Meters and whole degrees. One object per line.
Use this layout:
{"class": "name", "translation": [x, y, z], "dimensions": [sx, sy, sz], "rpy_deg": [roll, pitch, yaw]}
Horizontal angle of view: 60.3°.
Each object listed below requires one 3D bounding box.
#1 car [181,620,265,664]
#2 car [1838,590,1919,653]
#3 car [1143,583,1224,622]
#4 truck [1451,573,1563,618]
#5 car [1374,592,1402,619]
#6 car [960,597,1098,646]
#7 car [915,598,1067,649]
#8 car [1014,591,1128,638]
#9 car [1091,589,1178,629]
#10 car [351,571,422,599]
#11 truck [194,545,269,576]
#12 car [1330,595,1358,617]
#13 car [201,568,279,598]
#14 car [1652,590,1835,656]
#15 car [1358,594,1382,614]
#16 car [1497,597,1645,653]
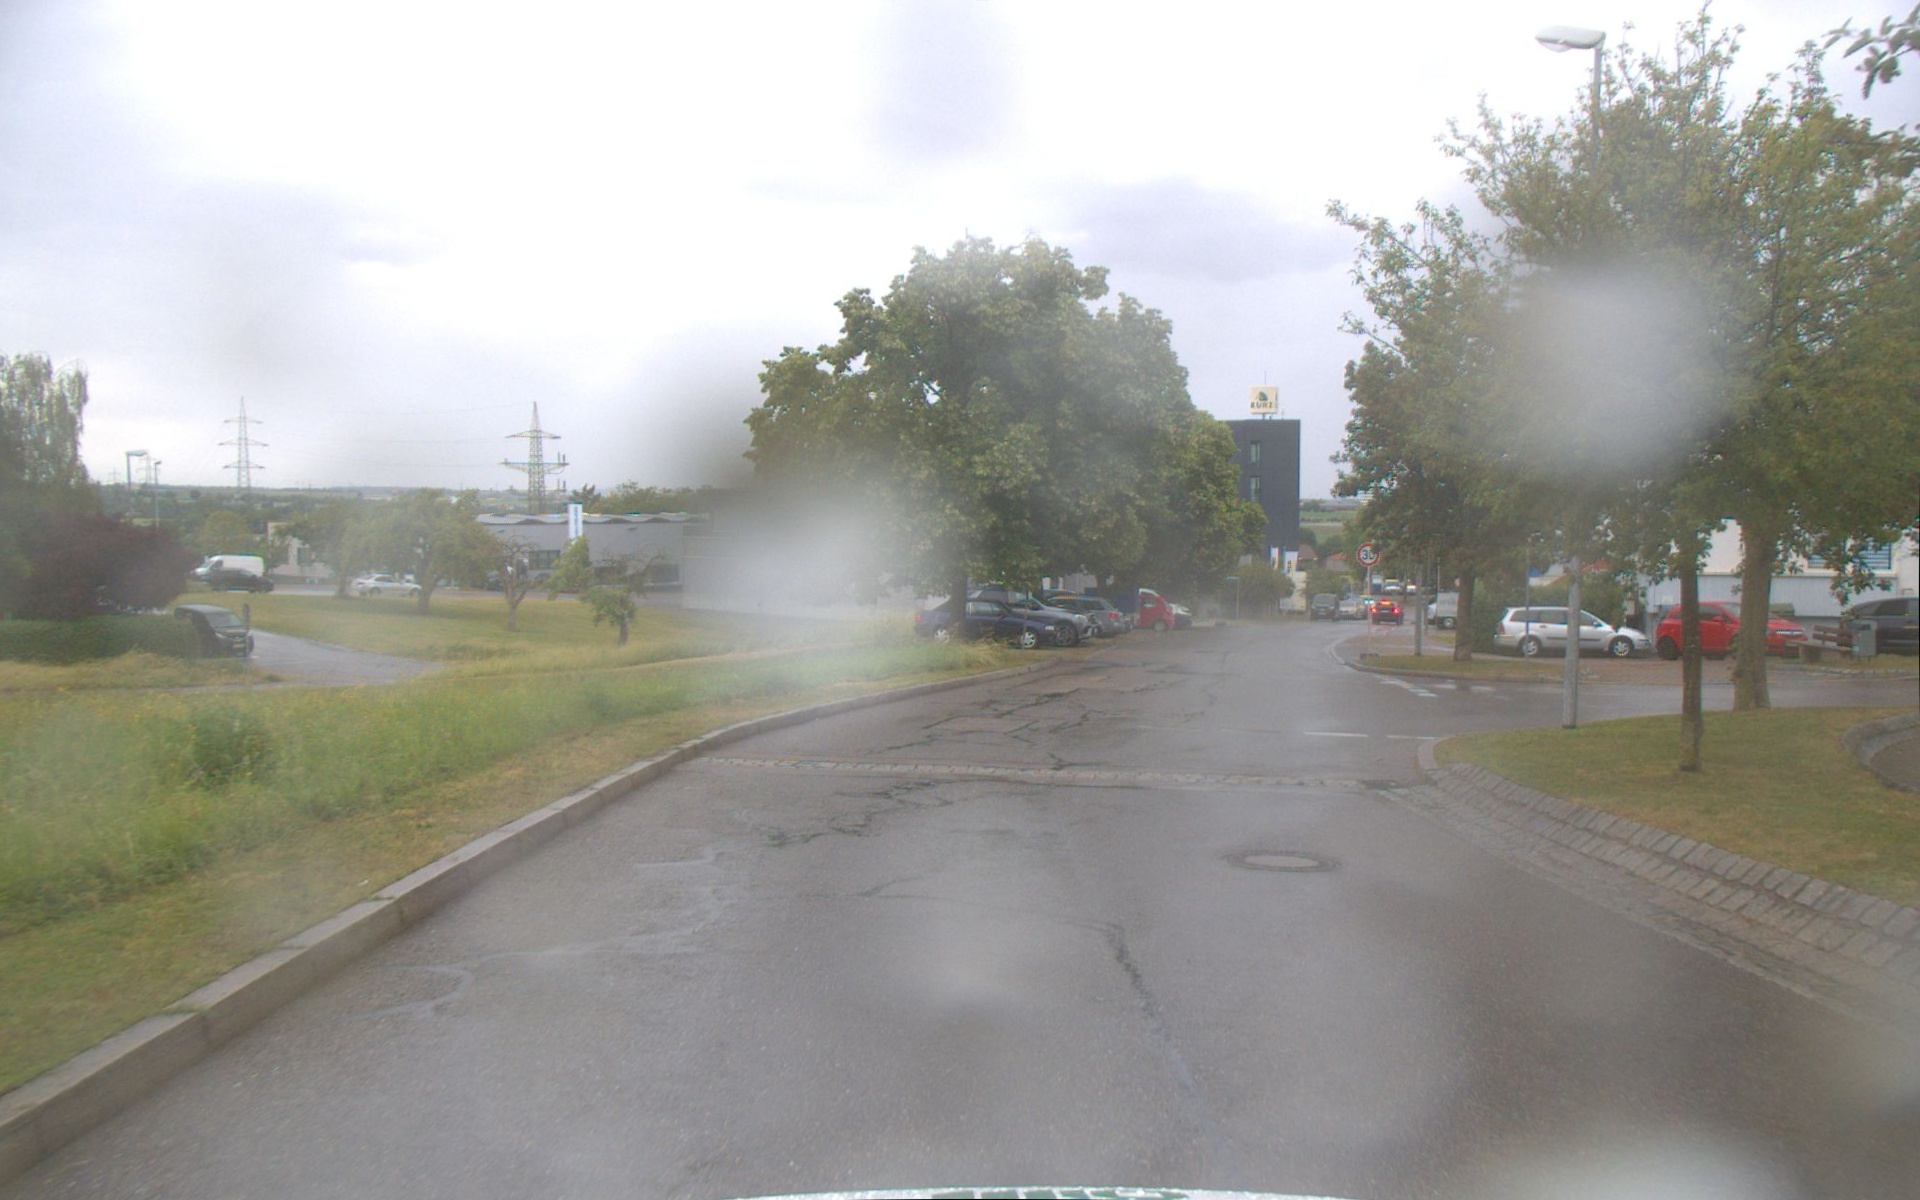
{"class": "car", "translation": [-30.838, 1.722, 69.175], "dimensions": [3.928, 1.624, 1.771], "rpy_deg": [1, 2, 42]}
{"class": "car", "translation": [22.762, 0.480, 38.387], "dimensions": [1.786, 1.442, 3.906], "rpy_deg": [-1, 0, -26]}
{"class": "car", "translation": [11.234, 0.140, 82.877], "dimensions": [3.902, 1.842, 2.002], "rpy_deg": [-1, 0, 10]}
{"class": "truck", "translation": [36.306, -0.288, 109.768], "dimensions": [6.727, 2.774, 2.642], "rpy_deg": [-1, 0, 27]}
{"class": "car", "translation": [27.952, 0.349, 107.886], "dimensions": [1.651, 1.579, 3.700], "rpy_deg": [1, 2, 16]}
{"class": "car", "translation": [2.097, 0.634, 49.602], "dimensions": [3.902, 1.384, 1.856], "rpy_deg": [-1, 0, 10]}
{"class": "car", "translation": [0.914, 0.665, 47.355], "dimensions": [4.076, 1.379, 1.864], "rpy_deg": [-1, 0, 10]}
{"class": "car", "translation": [3.871, 0.476, 57.395], "dimensions": [3.787, 1.574, 1.775], "rpy_deg": [0, 0, 9]}
{"class": "car", "translation": [7.431, 0.383, 70.221], "dimensions": [3.485, 1.634, 1.694], "rpy_deg": [-1, 0, 13]}
{"class": "car", "translation": [-39.262, -1.016, 113.357], "dimensions": [4.241, 1.731, 1.770], "rpy_deg": [1, 3, -43]}
{"class": "truck", "translation": [-61.938, -3.343, 140.663], "dimensions": [5.285, 2.349, 2.398], "rpy_deg": [1, 2, -43]}
{"class": "car", "translation": [29.730, 0.478, 127.833], "dimensions": [1.835, 1.625, 4.002], "rpy_deg": [-1, 0, 17]}
{"class": "car", "translation": [-46.057, -1.082, 105.856], "dimensions": [4.241, 1.731, 1.770], "rpy_deg": [1, 3, -43]}
{"class": "car", "translation": [19.022, 0.546, 40.343], "dimensions": [1.843, 1.501, 3.957], "rpy_deg": [-1, 0, -17]}
{"class": "car", "translation": [34.541, 0.354, 139.155], "dimensions": [1.753, 1.625, 4.002], "rpy_deg": [-1, 0, 17]}
{"class": "car", "translation": [18.355, 0.746, 49.872], "dimensions": [4.007, 1.593, 2.001], "rpy_deg": [-1, 0, 15]}
